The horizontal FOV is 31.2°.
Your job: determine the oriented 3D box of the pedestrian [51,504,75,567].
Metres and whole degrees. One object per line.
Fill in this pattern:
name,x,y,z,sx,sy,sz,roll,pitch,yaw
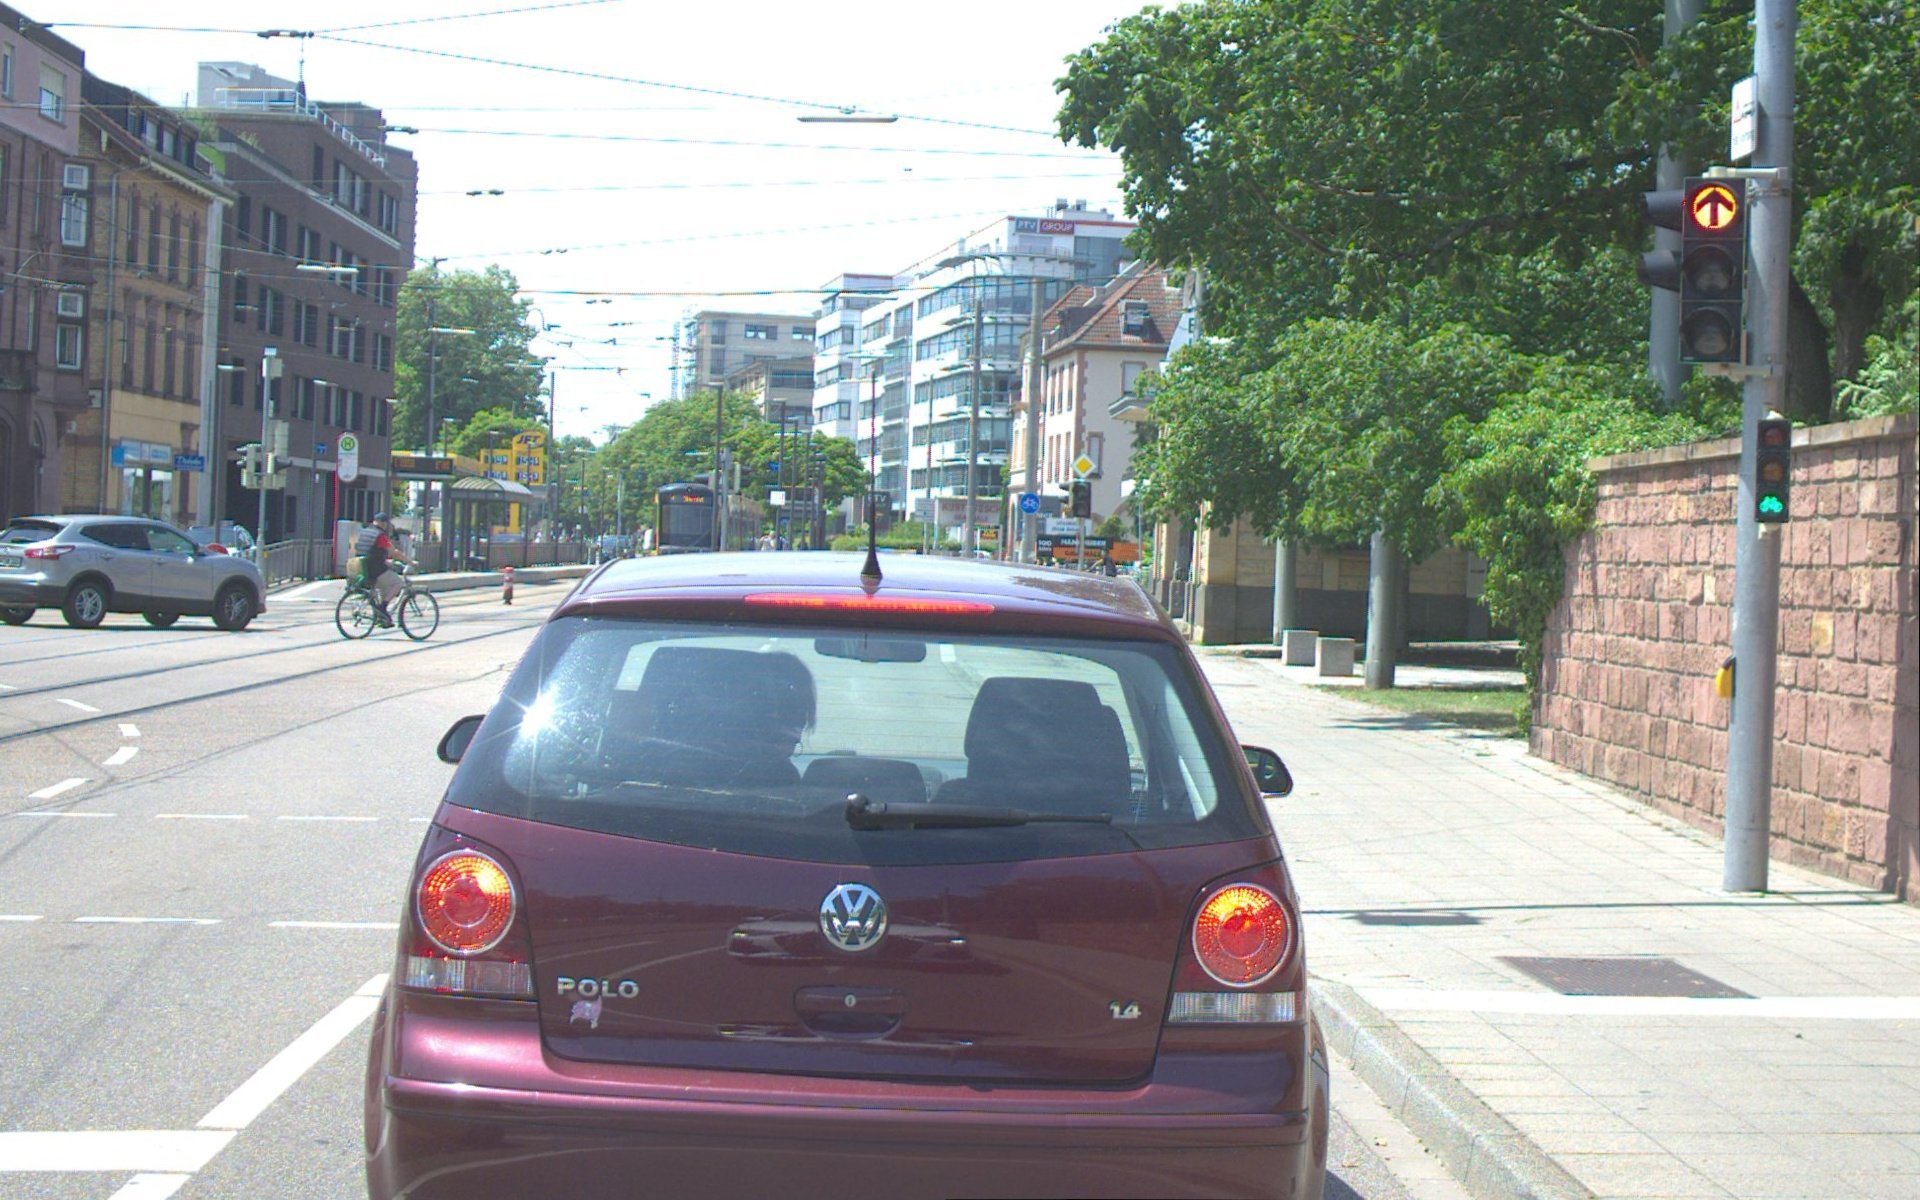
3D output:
pedestrian,-22.063,-1.590,84.578,0.483,1.535,0.538,1,0,-7

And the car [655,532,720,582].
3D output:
car,-9.247,-1.441,116.891,1.938,1.635,4.000,1,0,-1

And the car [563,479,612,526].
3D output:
car,-16.616,-4.327,153.350,1.735,2.007,4.000,2,1,-1

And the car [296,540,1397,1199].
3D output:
car,-0.247,0.636,7.183,1.610,1.458,4.086,2,1,-2

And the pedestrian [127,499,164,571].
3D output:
pedestrian,-20.316,-1.622,85.755,0.662,1.781,0.815,2,1,-1

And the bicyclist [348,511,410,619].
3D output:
bicyclist,-8.145,-0.485,48.190,0.481,1.496,0.751,1,0,28

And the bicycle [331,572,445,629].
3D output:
bicycle,-8.038,0.011,48.386,0.465,0.780,1.984,1,0,28

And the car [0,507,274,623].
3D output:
car,-12.043,-0.474,48.968,1.937,1.579,4.142,1,0,39
